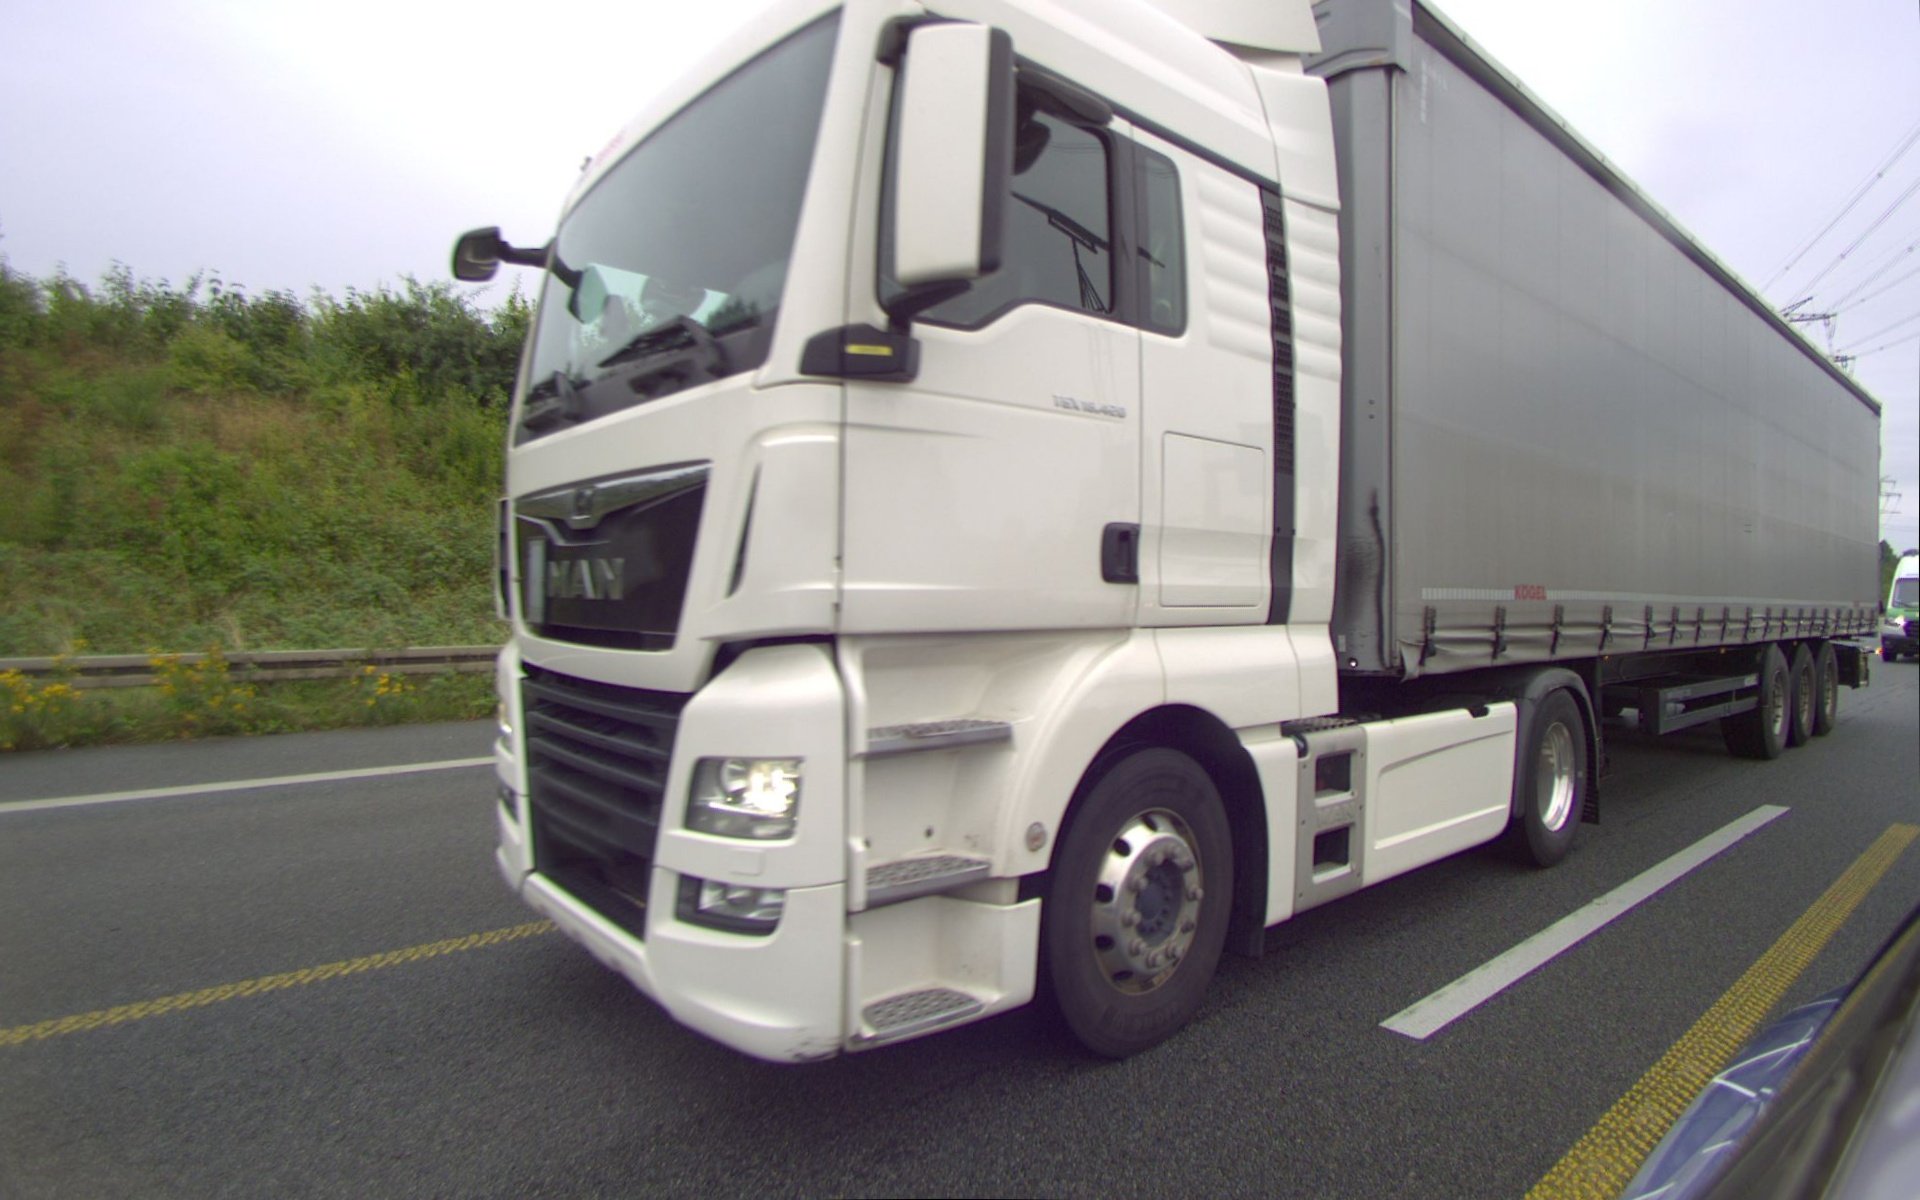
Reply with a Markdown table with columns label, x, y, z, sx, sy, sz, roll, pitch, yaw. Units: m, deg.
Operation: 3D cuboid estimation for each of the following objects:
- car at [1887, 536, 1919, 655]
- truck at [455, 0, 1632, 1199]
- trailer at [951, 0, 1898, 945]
| label | x | y | z | sx | sy | sz | roll | pitch | yaw |
| --- | --- | --- | --- | --- | --- | --- | --- | --- | --- |
| car | 24.956 | -0.098 | 25.340 | 5.656 | 2.817 | 1.997 | 0 | 1 | -42 |
| truck | 0.876 | -0.716 | 5.048 | 5.591 | 4.190 | 2.711 | 0 | 1 | -41 |
| trailer | 5.928 | -0.768 | 9.464 | 13.491 | 4.198 | 2.711 | 0 | 1 | -41 |
